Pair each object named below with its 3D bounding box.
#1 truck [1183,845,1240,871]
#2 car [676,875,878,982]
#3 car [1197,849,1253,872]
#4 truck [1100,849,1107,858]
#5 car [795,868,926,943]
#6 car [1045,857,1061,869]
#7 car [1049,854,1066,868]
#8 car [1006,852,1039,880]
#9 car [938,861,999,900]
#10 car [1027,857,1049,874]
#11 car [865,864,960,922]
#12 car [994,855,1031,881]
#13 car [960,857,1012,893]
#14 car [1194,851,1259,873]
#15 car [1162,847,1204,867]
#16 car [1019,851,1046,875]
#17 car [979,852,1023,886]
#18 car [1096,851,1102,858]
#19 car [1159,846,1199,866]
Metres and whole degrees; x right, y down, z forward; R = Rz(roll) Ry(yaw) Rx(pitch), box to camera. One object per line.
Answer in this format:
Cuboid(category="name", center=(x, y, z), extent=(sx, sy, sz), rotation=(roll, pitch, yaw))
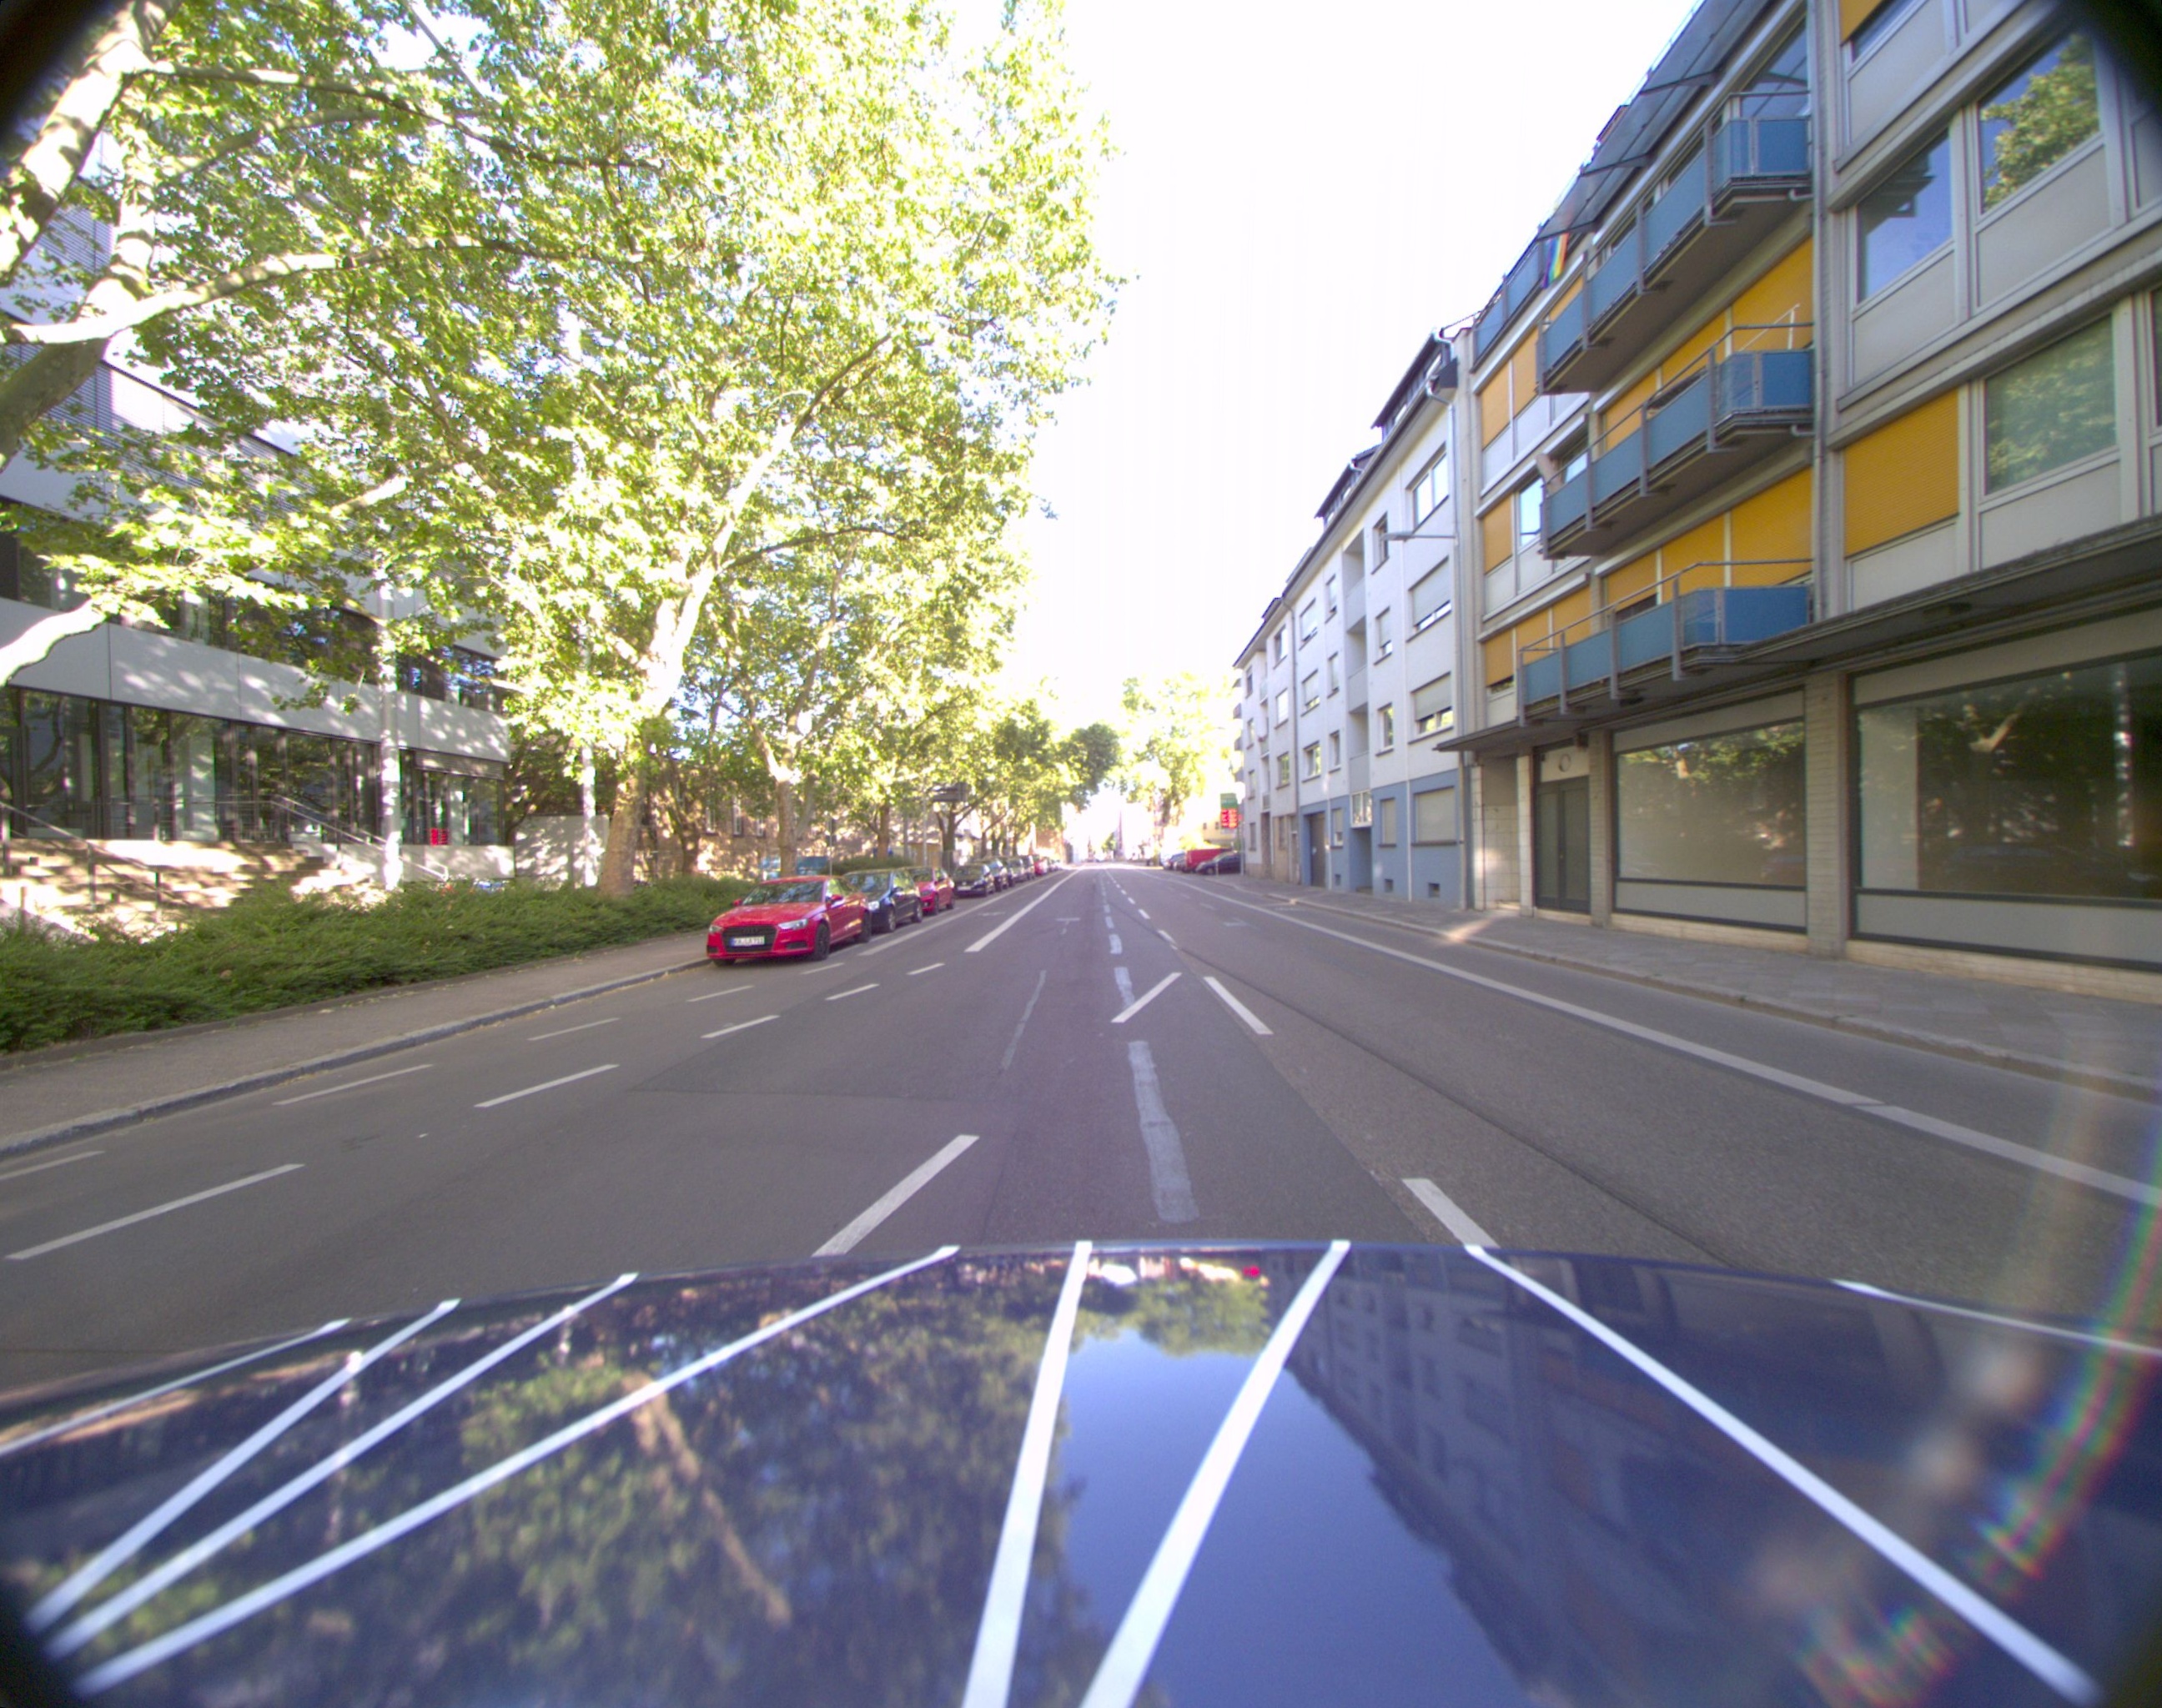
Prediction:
Cuboid(category="truck", center=(10.281, 0.317, 60.197), extent=(4.092, 1.913, 2.000), rotation=(-2, 1, 0))
Cuboid(category="car", center=(-5.192, 1.194, 13.626), extent=(1.907, 1.417, 3.999), rotation=(-2, 1, 1))
Cuboid(category="car", center=(10.795, 0.448, 57.103), extent=(3.810, 1.563, 1.658), rotation=(-2, 1, 0))
Cuboid(category="truck", center=(6.865, -0.311, 233.812), extent=(1.998, 2.653, 5.314), rotation=(-2, 1, 0))
Cuboid(category="car", center=(-5.176, 1.165, 18.383), extent=(1.998, 1.452, 3.644), rotation=(-2, 1, 1))
Cuboid(category="car", center=(-3.354, 1.063, 92.726), extent=(1.693, 1.364, 3.999), rotation=(-2, 1, 1))
Cuboid(category="car", center=(-3.192, 0.899, 102.996), extent=(1.998, 1.682, 3.999), rotation=(-2, 1, 1))
Cuboid(category="car", center=(-4.236, 0.839, 55.544), extent=(1.998, 1.838, 3.999), rotation=(-2, 1, 1))
Cuboid(category="car", center=(-4.843, 1.124, 33.167), extent=(1.998, 1.447, 3.589), rotation=(-2, 1, 1))
Cuboid(category="car", center=(-4.043, 1.076, 71.985), extent=(1.824, 1.466, 3.999), rotation=(-2, 1, 1))
Cuboid(category="car", center=(-5.133, 1.145, 23.665), extent=(1.998, 1.490, 3.828), rotation=(-2, 1, 1))
Cuboid(category="car", center=(-4.517, 0.892, 50.946), extent=(1.998, 1.557, 4.142), rotation=(-2, 1, 1))
Cuboid(category="car", center=(-4.689, 1.001, 38.117), extent=(1.998, 1.592, 4.142), rotation=(-2, 1, 1))
Cuboid(category="car", center=(10.450, 0.569, 54.772), extent=(4.324, 1.398, 1.658), rotation=(-2, 1, 0))
Cuboid(category="car", center=(10.857, 0.279, 80.902), extent=(4.236, 1.945, 2.000), rotation=(-2, 1, 3))
Cuboid(category="car", center=(-4.227, 0.781, 66.421), extent=(1.998, 1.960, 3.999), rotation=(-2, 1, 1))
Cuboid(category="car", center=(-4.613, 0.834, 44.505), extent=(1.998, 1.777, 4.572), rotation=(-2, 1, 1))
Cuboid(category="car", center=(6.152, 0.174, 259.443), extent=(1.998, 2.002, 3.999), rotation=(-2, 1, 1))
Cuboid(category="car", center=(10.943, 0.213, 85.302), extent=(4.236, 2.025, 2.000), rotation=(-2, 1, 3))
